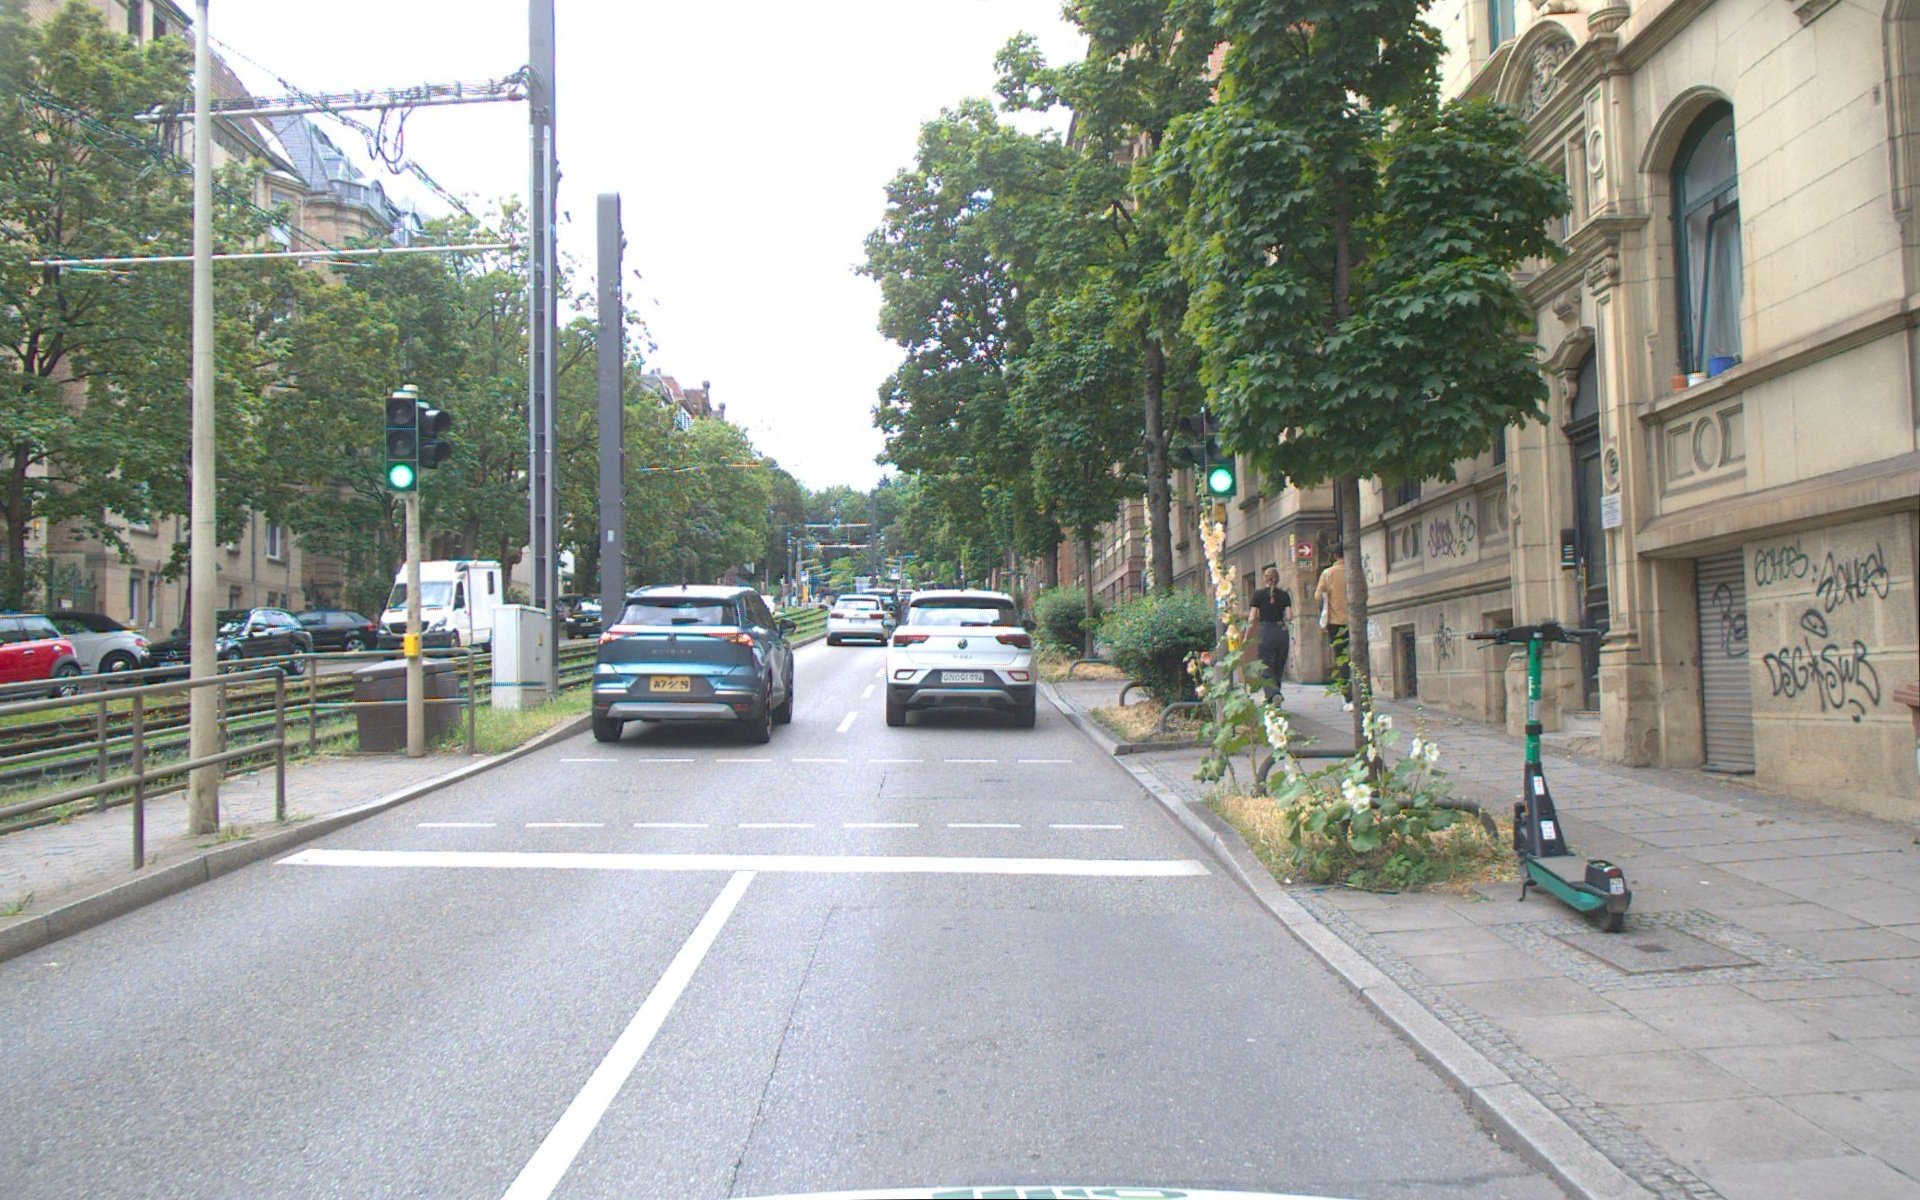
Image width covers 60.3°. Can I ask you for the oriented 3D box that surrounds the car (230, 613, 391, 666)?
[{"bbox_3d":[-18.800,1.115,47.917,4.128,1.388,1.694,-1,0,-31],"label":"car"}]

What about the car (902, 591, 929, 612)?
[{"bbox_3d":[-3.509,0.136,130.177,2.026,1.573,4.191,0,0,-2],"label":"car"}]

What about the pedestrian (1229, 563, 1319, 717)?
[{"bbox_3d":[3.433,0.418,18.166,0.672,1.601,1.216,-3,0,-1],"label":"pedestrian"}]

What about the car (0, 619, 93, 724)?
[{"bbox_3d":[-13.904,1.020,22.984,1.543,1.401,3.657,-1,0,4],"label":"car"}]

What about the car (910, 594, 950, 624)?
[{"bbox_3d":[-1.650,0.488,88.693,2.027,1.573,4.191,0,0,-3],"label":"car"}]

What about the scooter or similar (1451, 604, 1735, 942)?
[{"bbox_3d":[2.765,0.703,7.382,0.648,1.326,1.383,-3,0,-1],"label":"scooter or similar"}]

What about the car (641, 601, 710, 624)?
[{"bbox_3d":[-20.303,0.907,118.042,4.554,1.646,1.912,1,-1,-35],"label":"car"}]

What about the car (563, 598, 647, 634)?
[{"bbox_3d":[-19.374,0.871,90.314,4.130,1.868,1.854,-1,0,-28],"label":"car"}]

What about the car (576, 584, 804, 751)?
[{"bbox_3d":[-2.766,0.652,17.848,1.798,1.573,4.193,0,0,0],"label":"car"}]

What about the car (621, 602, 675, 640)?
[{"bbox_3d":[-15.070,0.983,80.069,1.744,1.685,4.242,-3,0,-1],"label":"car"}]

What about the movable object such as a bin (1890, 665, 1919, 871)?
[{"bbox_3d":[4.699,0.764,7.538,0.599,0.935,0.493,-3,0,1],"label":"movable object such as a bin"}]

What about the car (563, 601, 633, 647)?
[{"bbox_3d":[-14.673,0.949,67.286,1.842,1.679,4.469,-3,0,-1],"label":"car"}]

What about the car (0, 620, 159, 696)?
[{"bbox_3d":[-18.726,1.182,33.971,3.949,1.447,1.766,-1,0,-33],"label":"car"}]

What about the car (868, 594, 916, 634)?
[{"bbox_3d":[-2.733,0.568,67.382,1.798,1.573,4.193,0,0,0],"label":"car"}]

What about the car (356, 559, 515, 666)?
[{"bbox_3d":[-14.943,0.332,47.610,2.343,2.746,6.518,-3,0,0],"label":"car"}]

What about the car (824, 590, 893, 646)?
[{"bbox_3d":[-2.980,0.522,49.218,1.798,1.573,4.193,0,0,0],"label":"car"}]

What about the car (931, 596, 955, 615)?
[{"bbox_3d":[-1.462,0.469,140.707,2.026,1.573,4.193,0,0,-1],"label":"car"}]

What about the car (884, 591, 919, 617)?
[{"bbox_3d":[-3.667,0.253,102.966,2.027,1.573,4.190,0,0,-4],"label":"car"}]

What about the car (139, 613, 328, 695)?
[{"bbox_3d":[-14.975,1.059,34.398,1.712,1.453,4.749,-2,0,1],"label":"car"}]

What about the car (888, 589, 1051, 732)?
[{"bbox_3d":[0.045,0.675,20.393,1.798,1.573,4.192,0,0,-2],"label":"car"}]

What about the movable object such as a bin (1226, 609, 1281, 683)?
[{"bbox_3d":[4.400,0.681,24.820,0.657,1.033,0.582,-3,2,-3],"label":"movable object such as a bin"}]

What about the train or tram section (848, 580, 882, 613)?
[{"bbox_3d":[-10.409,-0.334,182.548,2.934,3.407,13.438,-1,0,0],"label":"train or tram section"}]

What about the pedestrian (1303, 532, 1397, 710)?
[{"bbox_3d":[4.279,0.228,18.216,0.672,1.861,1.121,-3,-1,-1],"label":"pedestrian"}]
